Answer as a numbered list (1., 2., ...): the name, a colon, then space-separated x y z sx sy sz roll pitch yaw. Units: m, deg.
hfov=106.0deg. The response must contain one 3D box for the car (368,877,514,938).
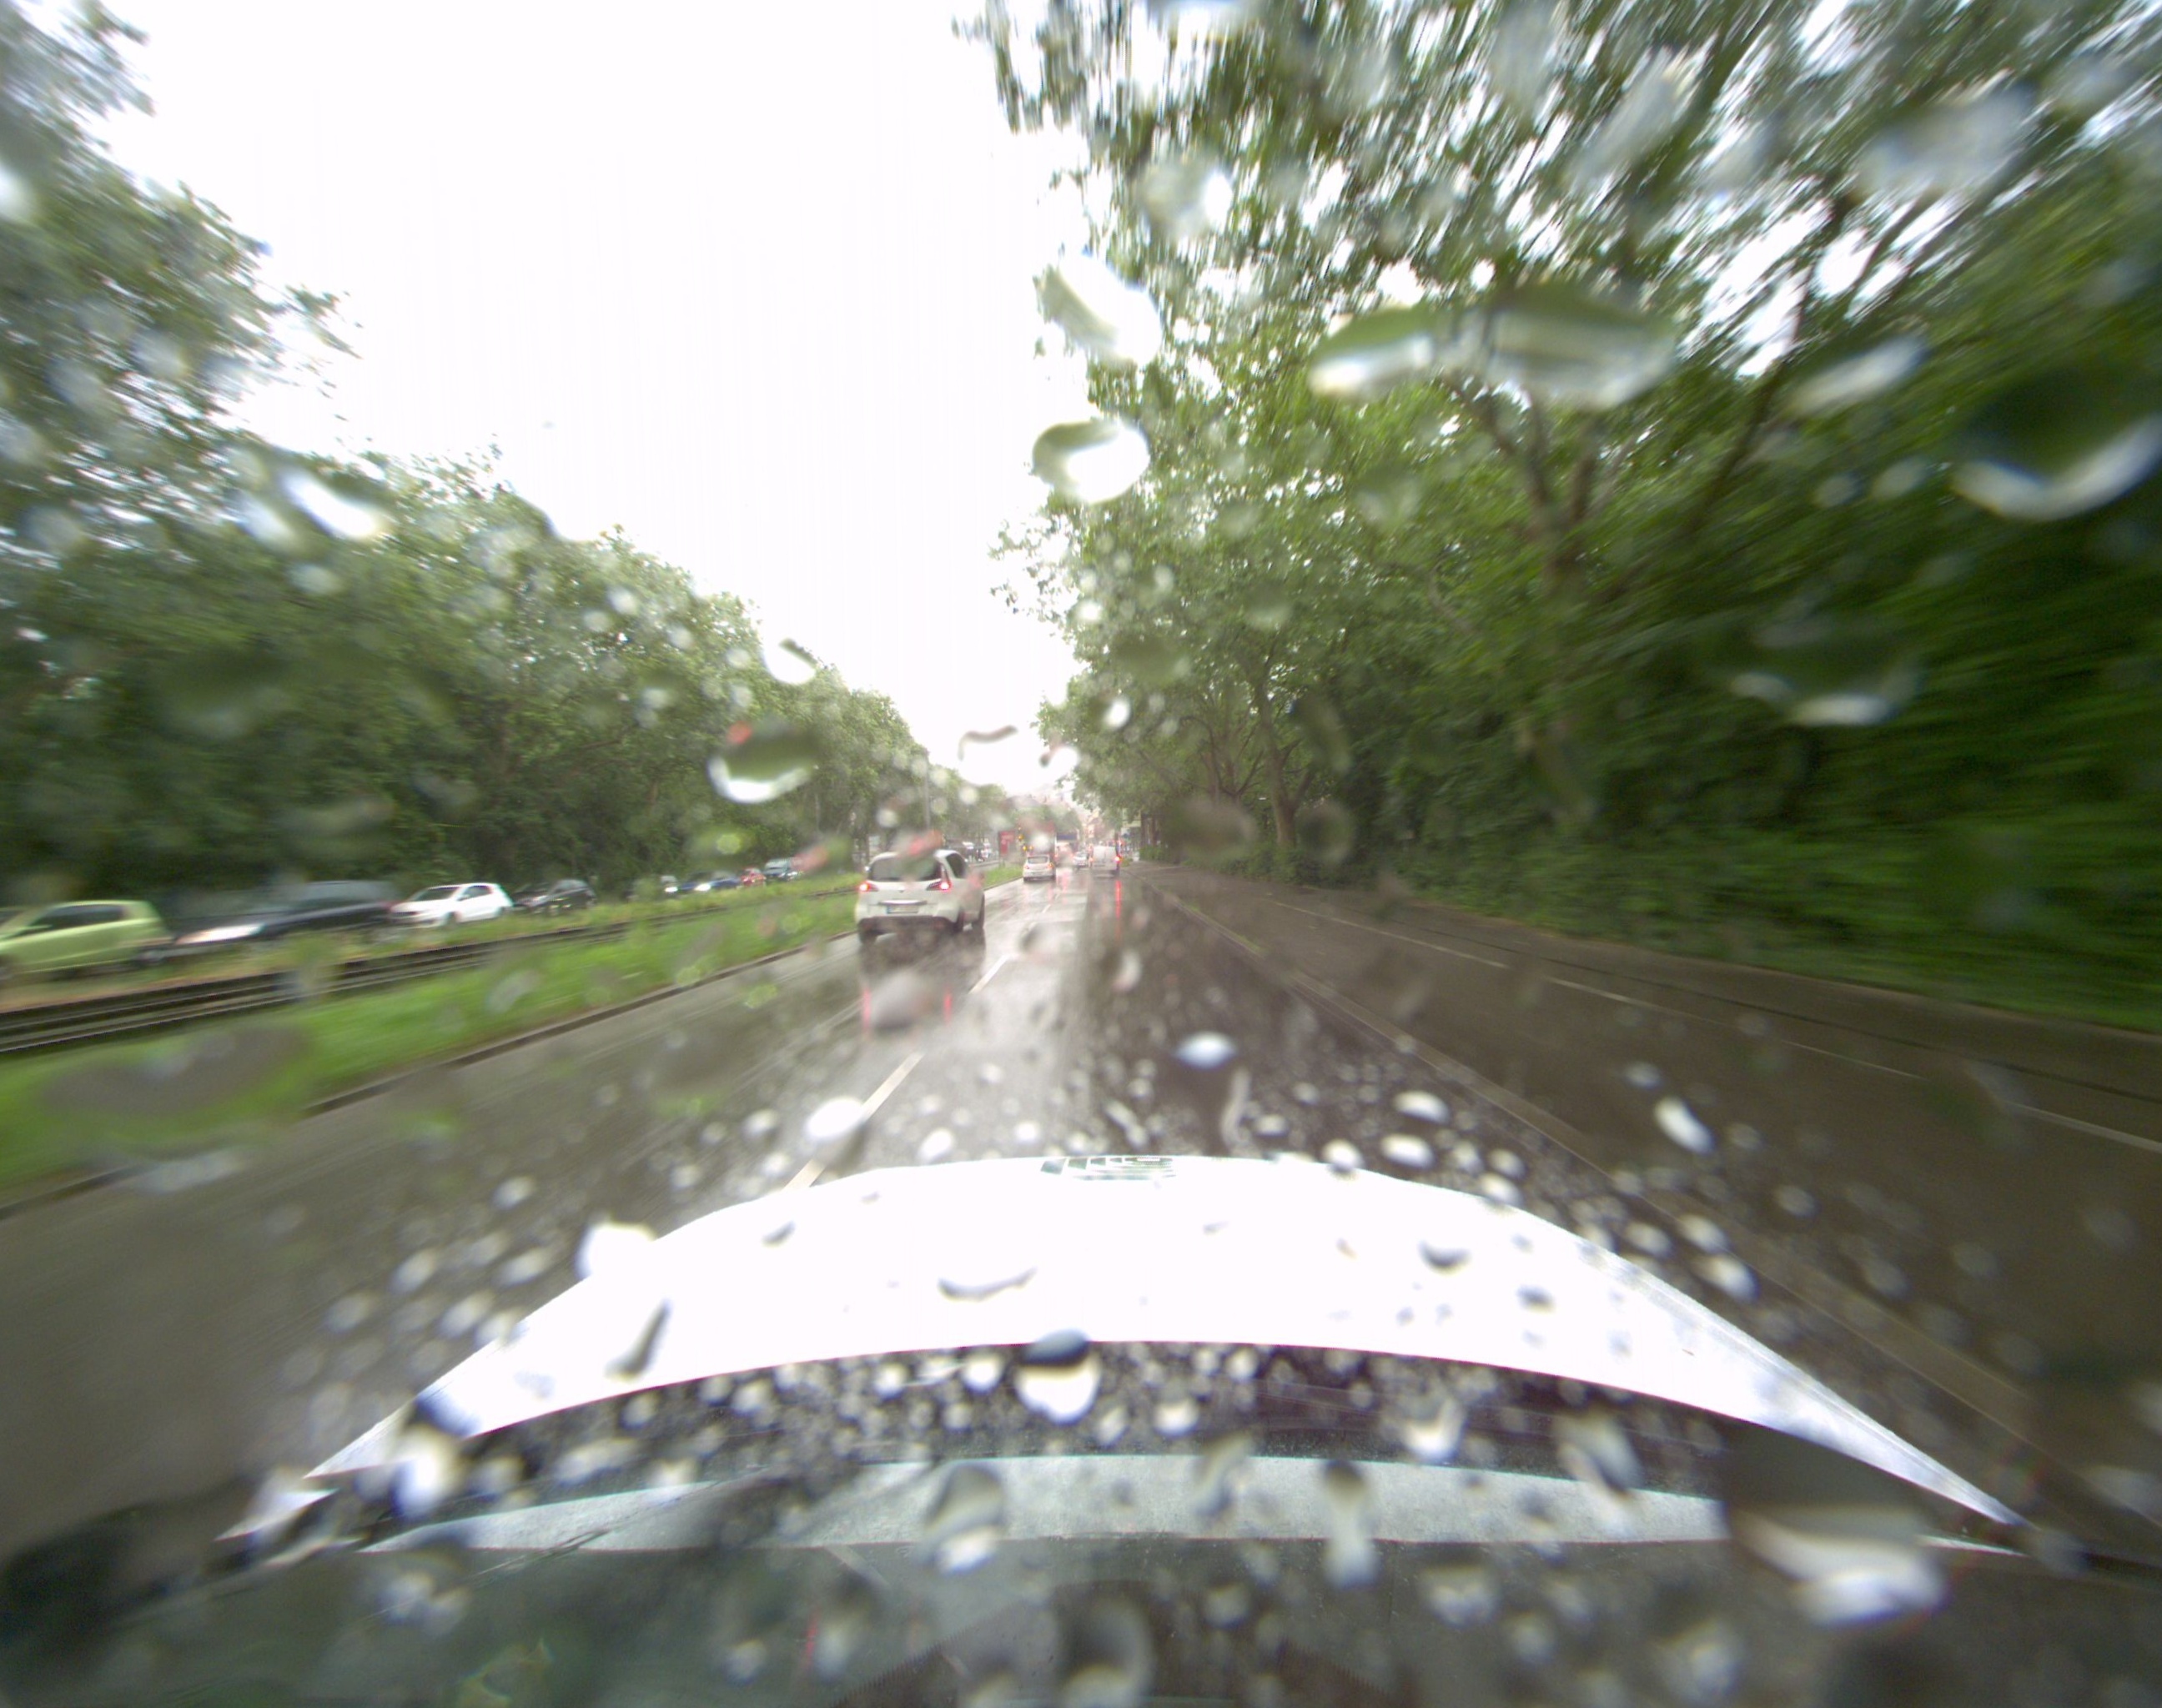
1. car: -20.842 1.678 26.741 1.756 1.648 3.810 -4 0 -2

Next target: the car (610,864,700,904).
1. car: -20.803 1.400 40.011 2.026 1.657 4.606 -3 1 -2

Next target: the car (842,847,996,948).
1. car: -2.885 0.715 15.484 1.857 1.623 4.265 -1 0 3

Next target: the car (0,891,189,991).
1. car: -20.137 1.669 15.646 1.756 1.648 3.810 -4 0 -2

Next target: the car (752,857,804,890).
1. car: -21.506 1.337 57.967 2.027 2.092 4.797 -4 0 -4

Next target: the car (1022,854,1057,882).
1. car: -2.308 0.772 46.024 1.720 1.479 3.805 -1 -1 0

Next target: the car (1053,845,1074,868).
1. car: -1.806 0.280 86.491 1.987 2.262 5.288 -1 -1 0

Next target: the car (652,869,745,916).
1. car: -17.172 1.673 36.831 2.026 1.751 4.690 -4 0 -2

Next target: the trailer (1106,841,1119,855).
1. trailer: 5.425 -1.073 141.955 1.988 2.317 4.666 -1 -1 -1

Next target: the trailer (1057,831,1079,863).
1. trailer: -1.646 -0.876 104.173 2.583 3.899 7.633 -1 0 -1

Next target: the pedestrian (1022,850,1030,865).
1. pedestrian: -6.142 0.392 91.153 0.713 1.744 0.750 -2 0 -1

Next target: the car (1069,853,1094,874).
1. car: 0.077 0.750 65.839 1.901 1.618 4.001 -2 -1 2

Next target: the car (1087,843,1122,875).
1. car: 1.366 0.327 48.130 1.953 1.777 3.569 -1 -1 0

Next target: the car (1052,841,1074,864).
1. car: -2.100 -0.169 95.009 2.322 2.557 6.114 -1 -1 0

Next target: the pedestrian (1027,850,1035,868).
1. pedestrian: -4.941 0.503 80.682 0.788 1.714 0.770 0 -1 -1

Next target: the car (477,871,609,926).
1. car: -20.875 1.668 31.891 2.026 1.751 4.690 -4 0 -2

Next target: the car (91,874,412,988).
1. car: -16.177 1.386 16.304 2.026 1.751 4.256 -4 0 -2
